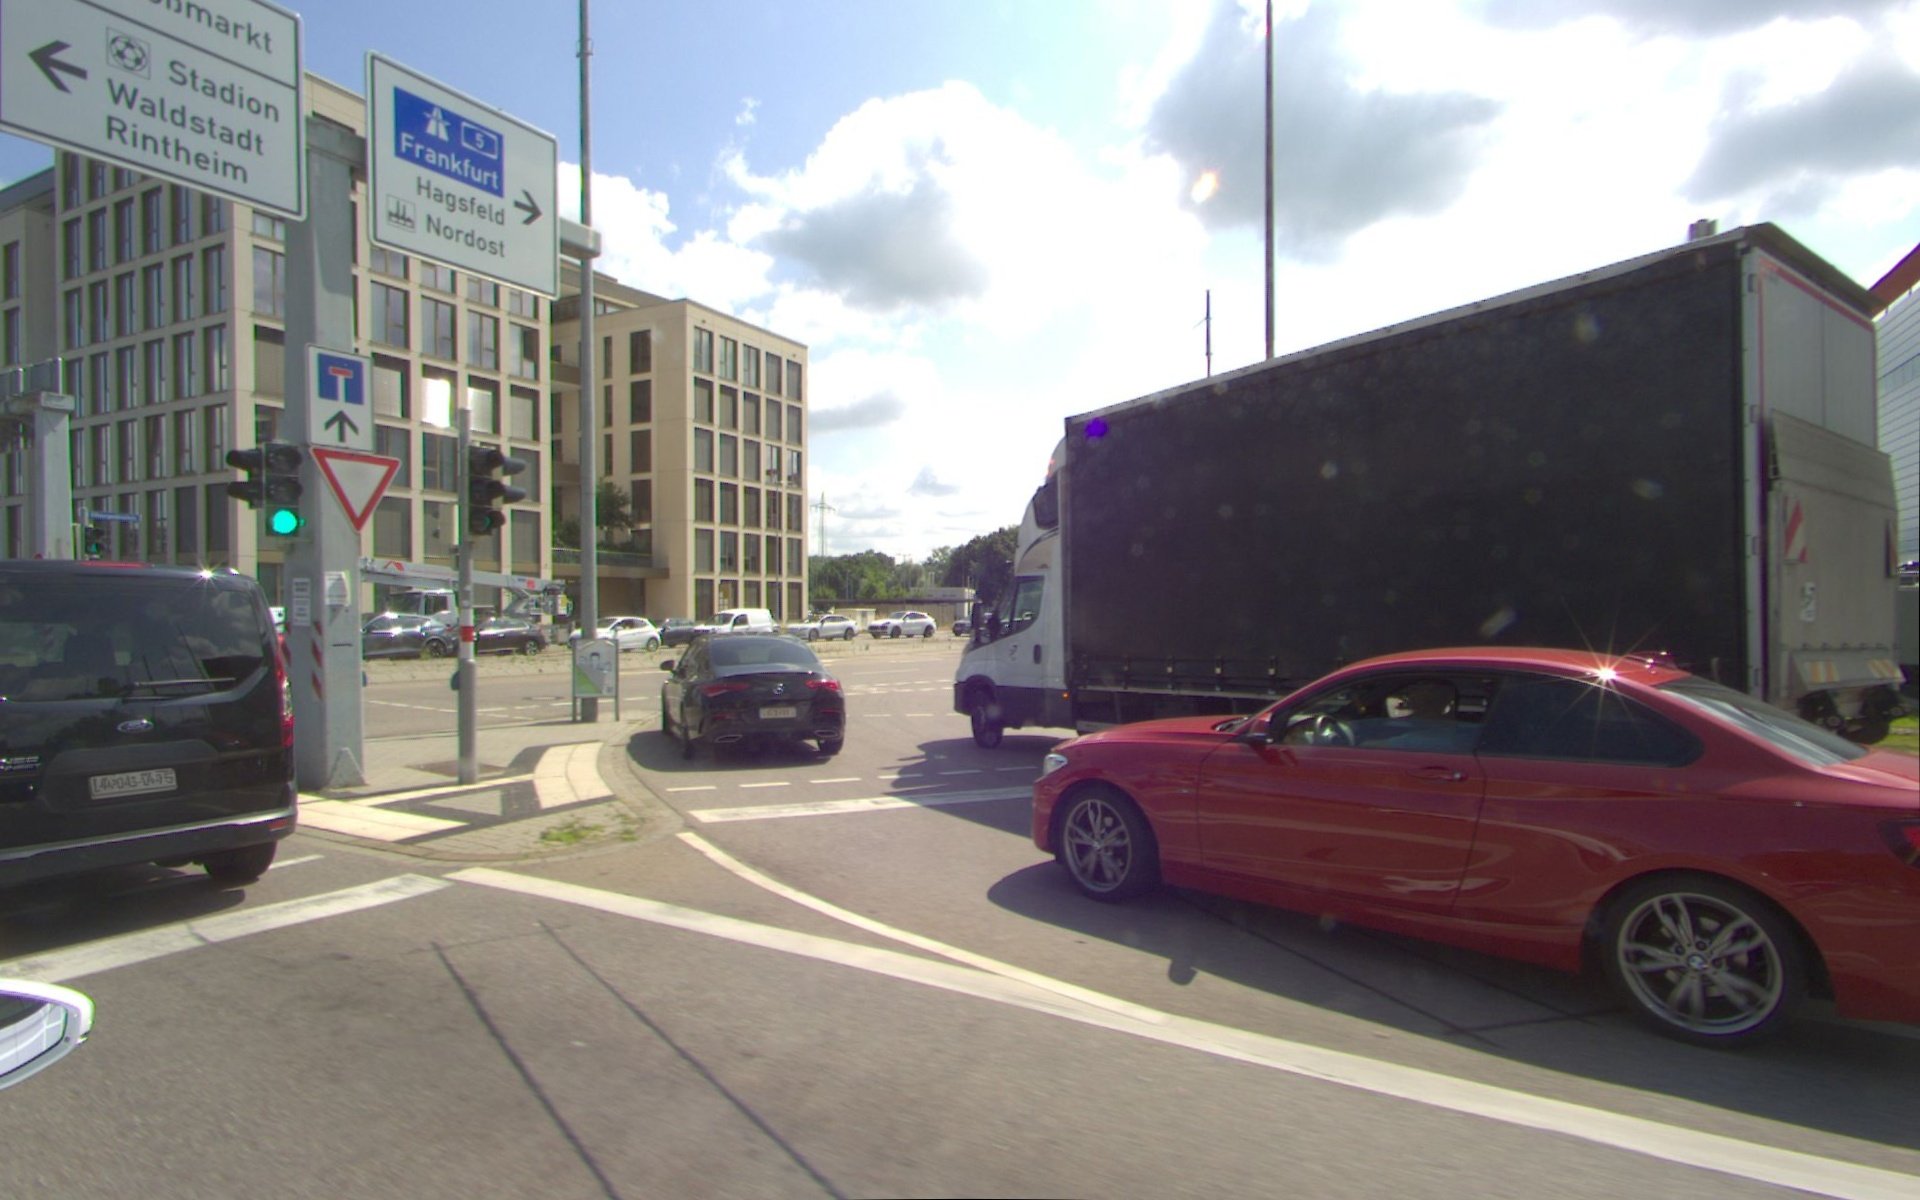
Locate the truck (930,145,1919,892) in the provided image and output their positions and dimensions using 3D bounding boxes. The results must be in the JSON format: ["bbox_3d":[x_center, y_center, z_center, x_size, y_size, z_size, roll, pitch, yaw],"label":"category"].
[{"bbox_3d":[3.407,-0.264,10.121,3.181,4.078,9.016,1,-3,-33],"label":"truck"}]

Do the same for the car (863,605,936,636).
[{"bbox_3d":[-3.759,1.335,63.154,1.808,1.861,4.676,-2,-3,42],"label":"car"}]

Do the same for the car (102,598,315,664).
[{"bbox_3d":[-23.207,0.997,31.188,1.967,1.861,4.980,-1,-2,24],"label":"car"}]

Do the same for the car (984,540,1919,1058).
[{"bbox_3d":[2.312,0.729,5.150,4.170,1.676,1.851,-2,-3,41],"label":"car"}]

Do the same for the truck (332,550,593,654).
[{"bbox_3d":[-19.122,0.284,39.512,2.631,3.599,9.757,-1,-2,25],"label":"truck"}]

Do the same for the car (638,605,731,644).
[{"bbox_3d":[-13.514,1.245,49.395,1.801,1.861,4.427,-1,-2,30],"label":"car"}]

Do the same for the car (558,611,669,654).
[{"bbox_3d":[-14.079,1.355,40.893,1.800,1.647,4.196,-1,-2,28],"label":"car"}]

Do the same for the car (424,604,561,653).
[{"bbox_3d":[-16.703,1.039,35.963,1.801,1.647,4.194,-1,-3,30],"label":"car"}]

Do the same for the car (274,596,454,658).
[{"bbox_3d":[-17.090,0.812,28.943,1.798,1.647,4.201,-1,-2,24],"label":"car"}]

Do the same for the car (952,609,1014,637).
[{"bbox_3d":[1.621,1.630,68.819,1.808,1.861,4.409,-2,-3,42],"label":"car"}]

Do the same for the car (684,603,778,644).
[{"bbox_3d":[-10.698,1.144,47.055,1.801,1.861,4.427,-1,-2,30],"label":"car"}]

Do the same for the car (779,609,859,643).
[{"bbox_3d":[-8.101,1.524,57.818,1.806,1.861,4.693,-1,-3,38],"label":"car"}]

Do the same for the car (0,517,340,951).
[{"bbox_3d":[-5.698,0.633,5.925,3.940,1.929,1.821,-1,-1,30],"label":"car"}]

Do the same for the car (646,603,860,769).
[{"bbox_3d":[-2.742,0.913,12.444,1.834,1.677,4.206,0,-1,-23],"label":"car"}]

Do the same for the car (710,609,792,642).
[{"bbox_3d":[-11.074,1.405,53.397,1.801,1.643,4.427,-1,-3,30],"label":"car"}]

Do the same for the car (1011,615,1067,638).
[{"bbox_3d":[5.858,1.972,73.896,1.808,1.634,4.409,-2,-3,42],"label":"car"}]
